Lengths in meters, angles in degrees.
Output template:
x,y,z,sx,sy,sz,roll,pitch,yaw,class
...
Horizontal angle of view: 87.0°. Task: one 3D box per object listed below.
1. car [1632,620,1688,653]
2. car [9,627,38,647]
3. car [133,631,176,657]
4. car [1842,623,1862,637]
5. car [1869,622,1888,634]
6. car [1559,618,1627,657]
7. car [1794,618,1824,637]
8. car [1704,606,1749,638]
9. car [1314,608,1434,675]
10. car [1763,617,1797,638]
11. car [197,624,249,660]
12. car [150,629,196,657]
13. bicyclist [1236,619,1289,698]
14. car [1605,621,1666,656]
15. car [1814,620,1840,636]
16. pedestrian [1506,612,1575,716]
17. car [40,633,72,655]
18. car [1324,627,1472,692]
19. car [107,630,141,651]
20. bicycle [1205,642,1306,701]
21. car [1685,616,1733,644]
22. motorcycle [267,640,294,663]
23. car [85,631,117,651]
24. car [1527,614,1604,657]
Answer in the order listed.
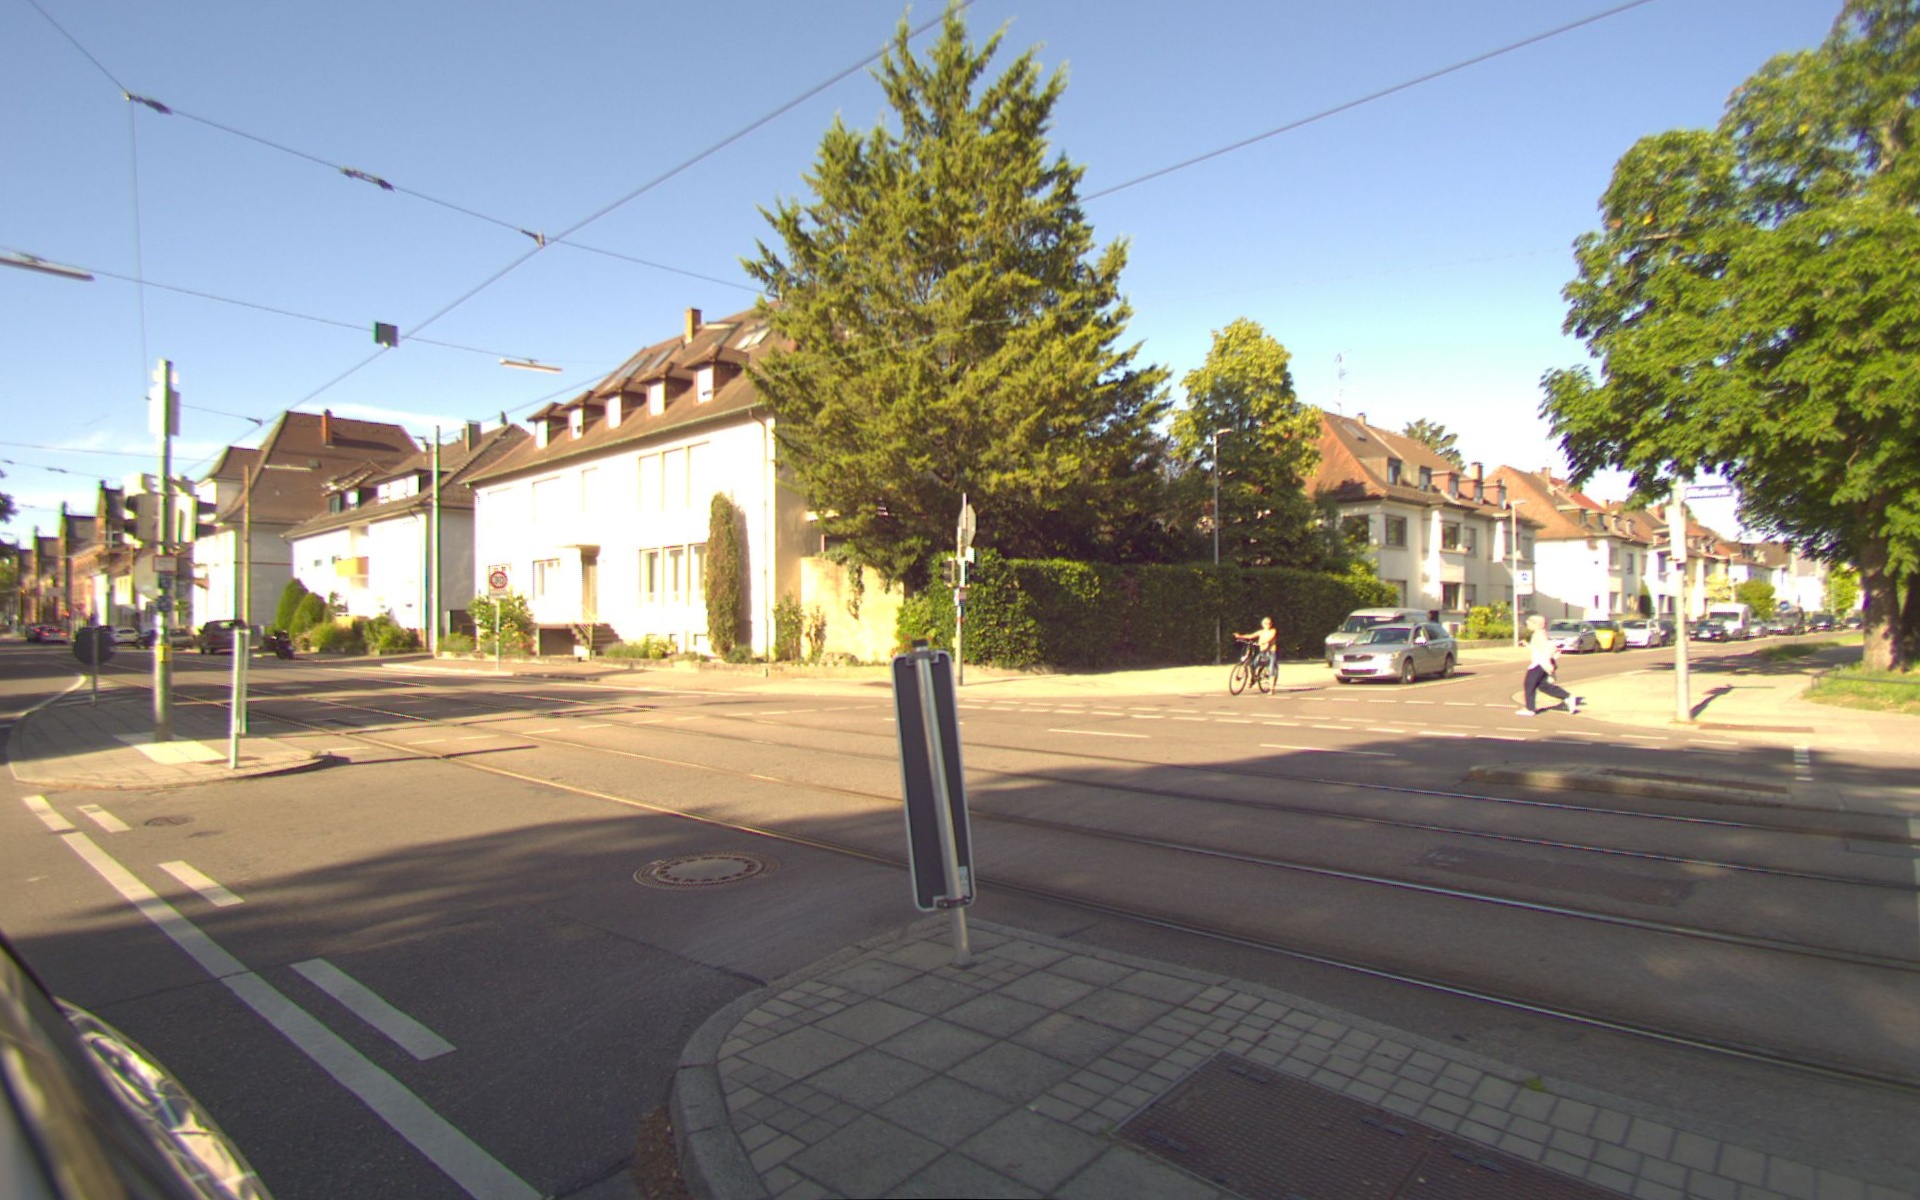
x,y,z,sx,sy,sz,roll,pitch,yaw,class
38.556,2.006,55.697,3.829,1.756,1.818,1,-2,-44,car
-85.578,3.409,92.508,1.896,1.728,4.004,-2,0,-43,car
-57.614,3.107,72.355,4.001,1.728,1.898,-2,0,44,car
116.959,3.916,132.634,3.632,1.756,1.668,1,-2,-44,car
136.869,4.130,150.727,3.829,1.756,1.818,1,-2,-44,car
29.639,1.733,47.341,3.829,1.756,1.818,1,-2,-44,car
83.065,2.689,98.969,3.829,1.756,1.818,1,-2,-44,car
52.434,1.510,69.168,4.121,2.110,1.818,1,-2,-44,car
12.612,1.213,30.718,4.251,1.881,1.818,1,-2,-44,car
70.071,2.309,86.456,3.829,1.756,1.818,1,-2,-44,car
-42.428,2.411,58.237,1.897,1.915,4.003,-2,0,-44,car
-53.060,2.877,68.215,4.002,1.728,1.897,-2,0,45,car
6.429,1.230,21.546,0.551,1.635,0.900,1,-2,-39,bicyclist
34.956,1.959,52.331,3.829,1.756,1.818,1,-2,-44,car
93.760,3.020,109.416,3.829,1.756,1.818,1,-2,-44,car
9.147,0.991,15.962,0.614,1.568,0.679,-2,0,-5,pedestrian
-76.635,3.700,85.770,1.896,1.728,4.004,-2,0,-43,car
10.895,1.424,25.093,3.937,1.444,1.819,1,-2,-41,car
-68.368,3.290,82.741,1.896,1.576,4.004,-2,0,-43,car
6.263,1.482,21.386,2.250,1.126,0.931,1,-2,-39,bicycle
48.110,1.917,64.973,3.829,1.756,1.818,1,-2,-44,car
-31.873,2.401,47.474,0.597,1.054,2.439,-2,-1,-44,motorcycle
-79.041,3.748,93.100,1.897,1.728,4.002,-2,0,-45,car
26.249,1.510,43.822,4.139,1.756,1.818,1,-2,-44,car
